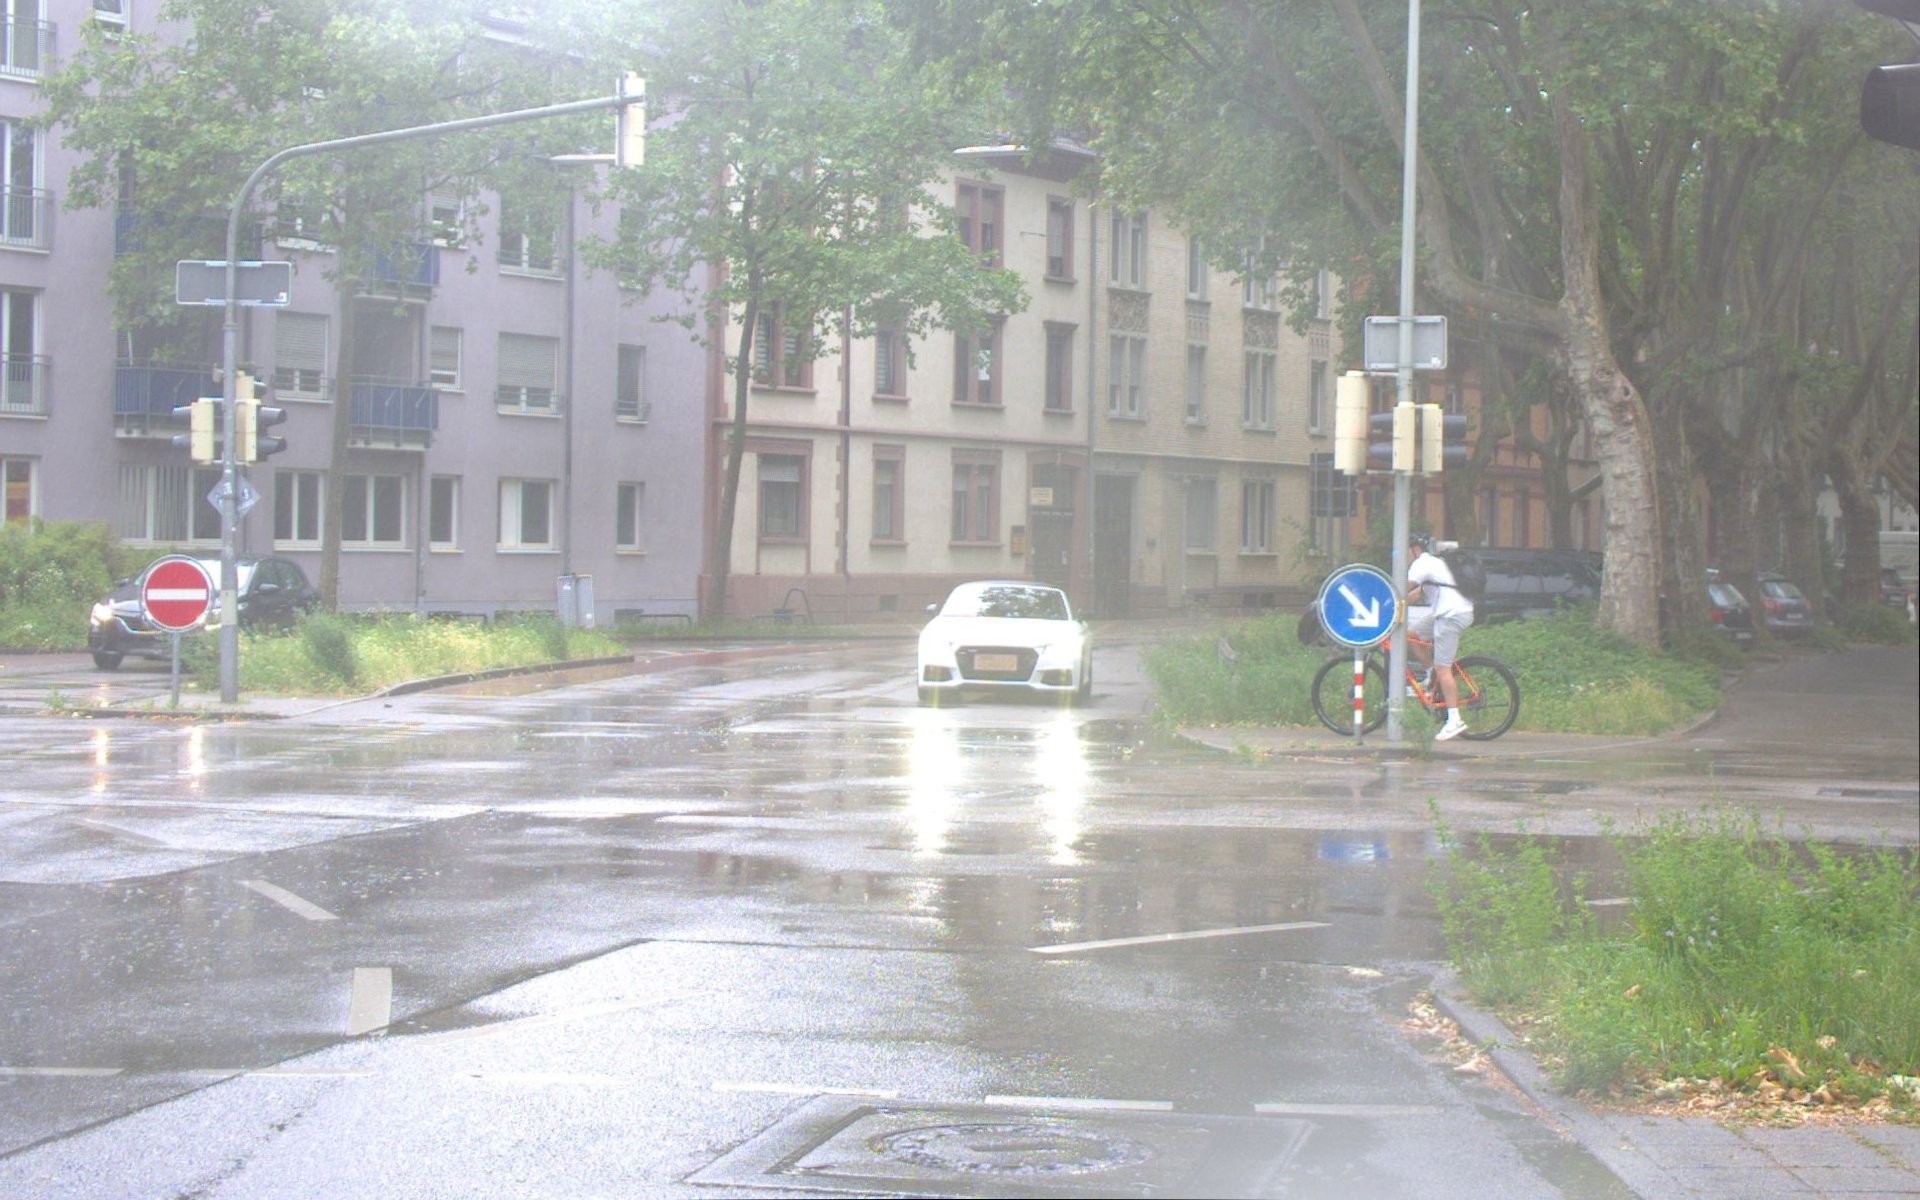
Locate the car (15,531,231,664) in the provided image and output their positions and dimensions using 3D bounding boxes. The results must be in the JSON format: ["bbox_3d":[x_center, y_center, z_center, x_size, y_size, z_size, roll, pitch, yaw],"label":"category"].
[{"bbox_3d":[-10.044,-0.066,41.502,1.751,1.506,3.839,1,1,-2],"label":"car"}]

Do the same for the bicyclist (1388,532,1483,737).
[{"bbox_3d":[4.199,0.296,30.368,0.795,1.780,0.697,1,0,8],"label":"bicyclist"}]

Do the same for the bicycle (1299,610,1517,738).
[{"bbox_3d":[3.957,0.644,30.401,1.873,1.077,0.657,1,0,8],"label":"bicycle"}]

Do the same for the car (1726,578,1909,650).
[{"bbox_3d":[19.576,0.304,78.659,3.989,1.542,1.999,1,1,12],"label":"car"}]

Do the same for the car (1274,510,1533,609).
[{"bbox_3d":[6.971,-0.634,53.936,3.868,1.481,1.715,1,0,12],"label":"car"}]

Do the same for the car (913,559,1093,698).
[{"bbox_3d":[0.544,0.283,39.136,1.885,1.431,4.000,1,1,3],"label":"car"}]

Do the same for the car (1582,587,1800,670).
[{"bbox_3d":[13.912,0.532,65.475,3.989,1.481,1.999,1,1,12],"label":"car"}]

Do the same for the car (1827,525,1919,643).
[{"bbox_3d":[24.396,-0.418,87.721,2.033,2.938,4.773,1,1,-21],"label":"car"}]

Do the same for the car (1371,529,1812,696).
[{"bbox_3d":[6.023,0.099,32.742,3.989,1.481,1.999,1,1,12],"label":"car"}]
